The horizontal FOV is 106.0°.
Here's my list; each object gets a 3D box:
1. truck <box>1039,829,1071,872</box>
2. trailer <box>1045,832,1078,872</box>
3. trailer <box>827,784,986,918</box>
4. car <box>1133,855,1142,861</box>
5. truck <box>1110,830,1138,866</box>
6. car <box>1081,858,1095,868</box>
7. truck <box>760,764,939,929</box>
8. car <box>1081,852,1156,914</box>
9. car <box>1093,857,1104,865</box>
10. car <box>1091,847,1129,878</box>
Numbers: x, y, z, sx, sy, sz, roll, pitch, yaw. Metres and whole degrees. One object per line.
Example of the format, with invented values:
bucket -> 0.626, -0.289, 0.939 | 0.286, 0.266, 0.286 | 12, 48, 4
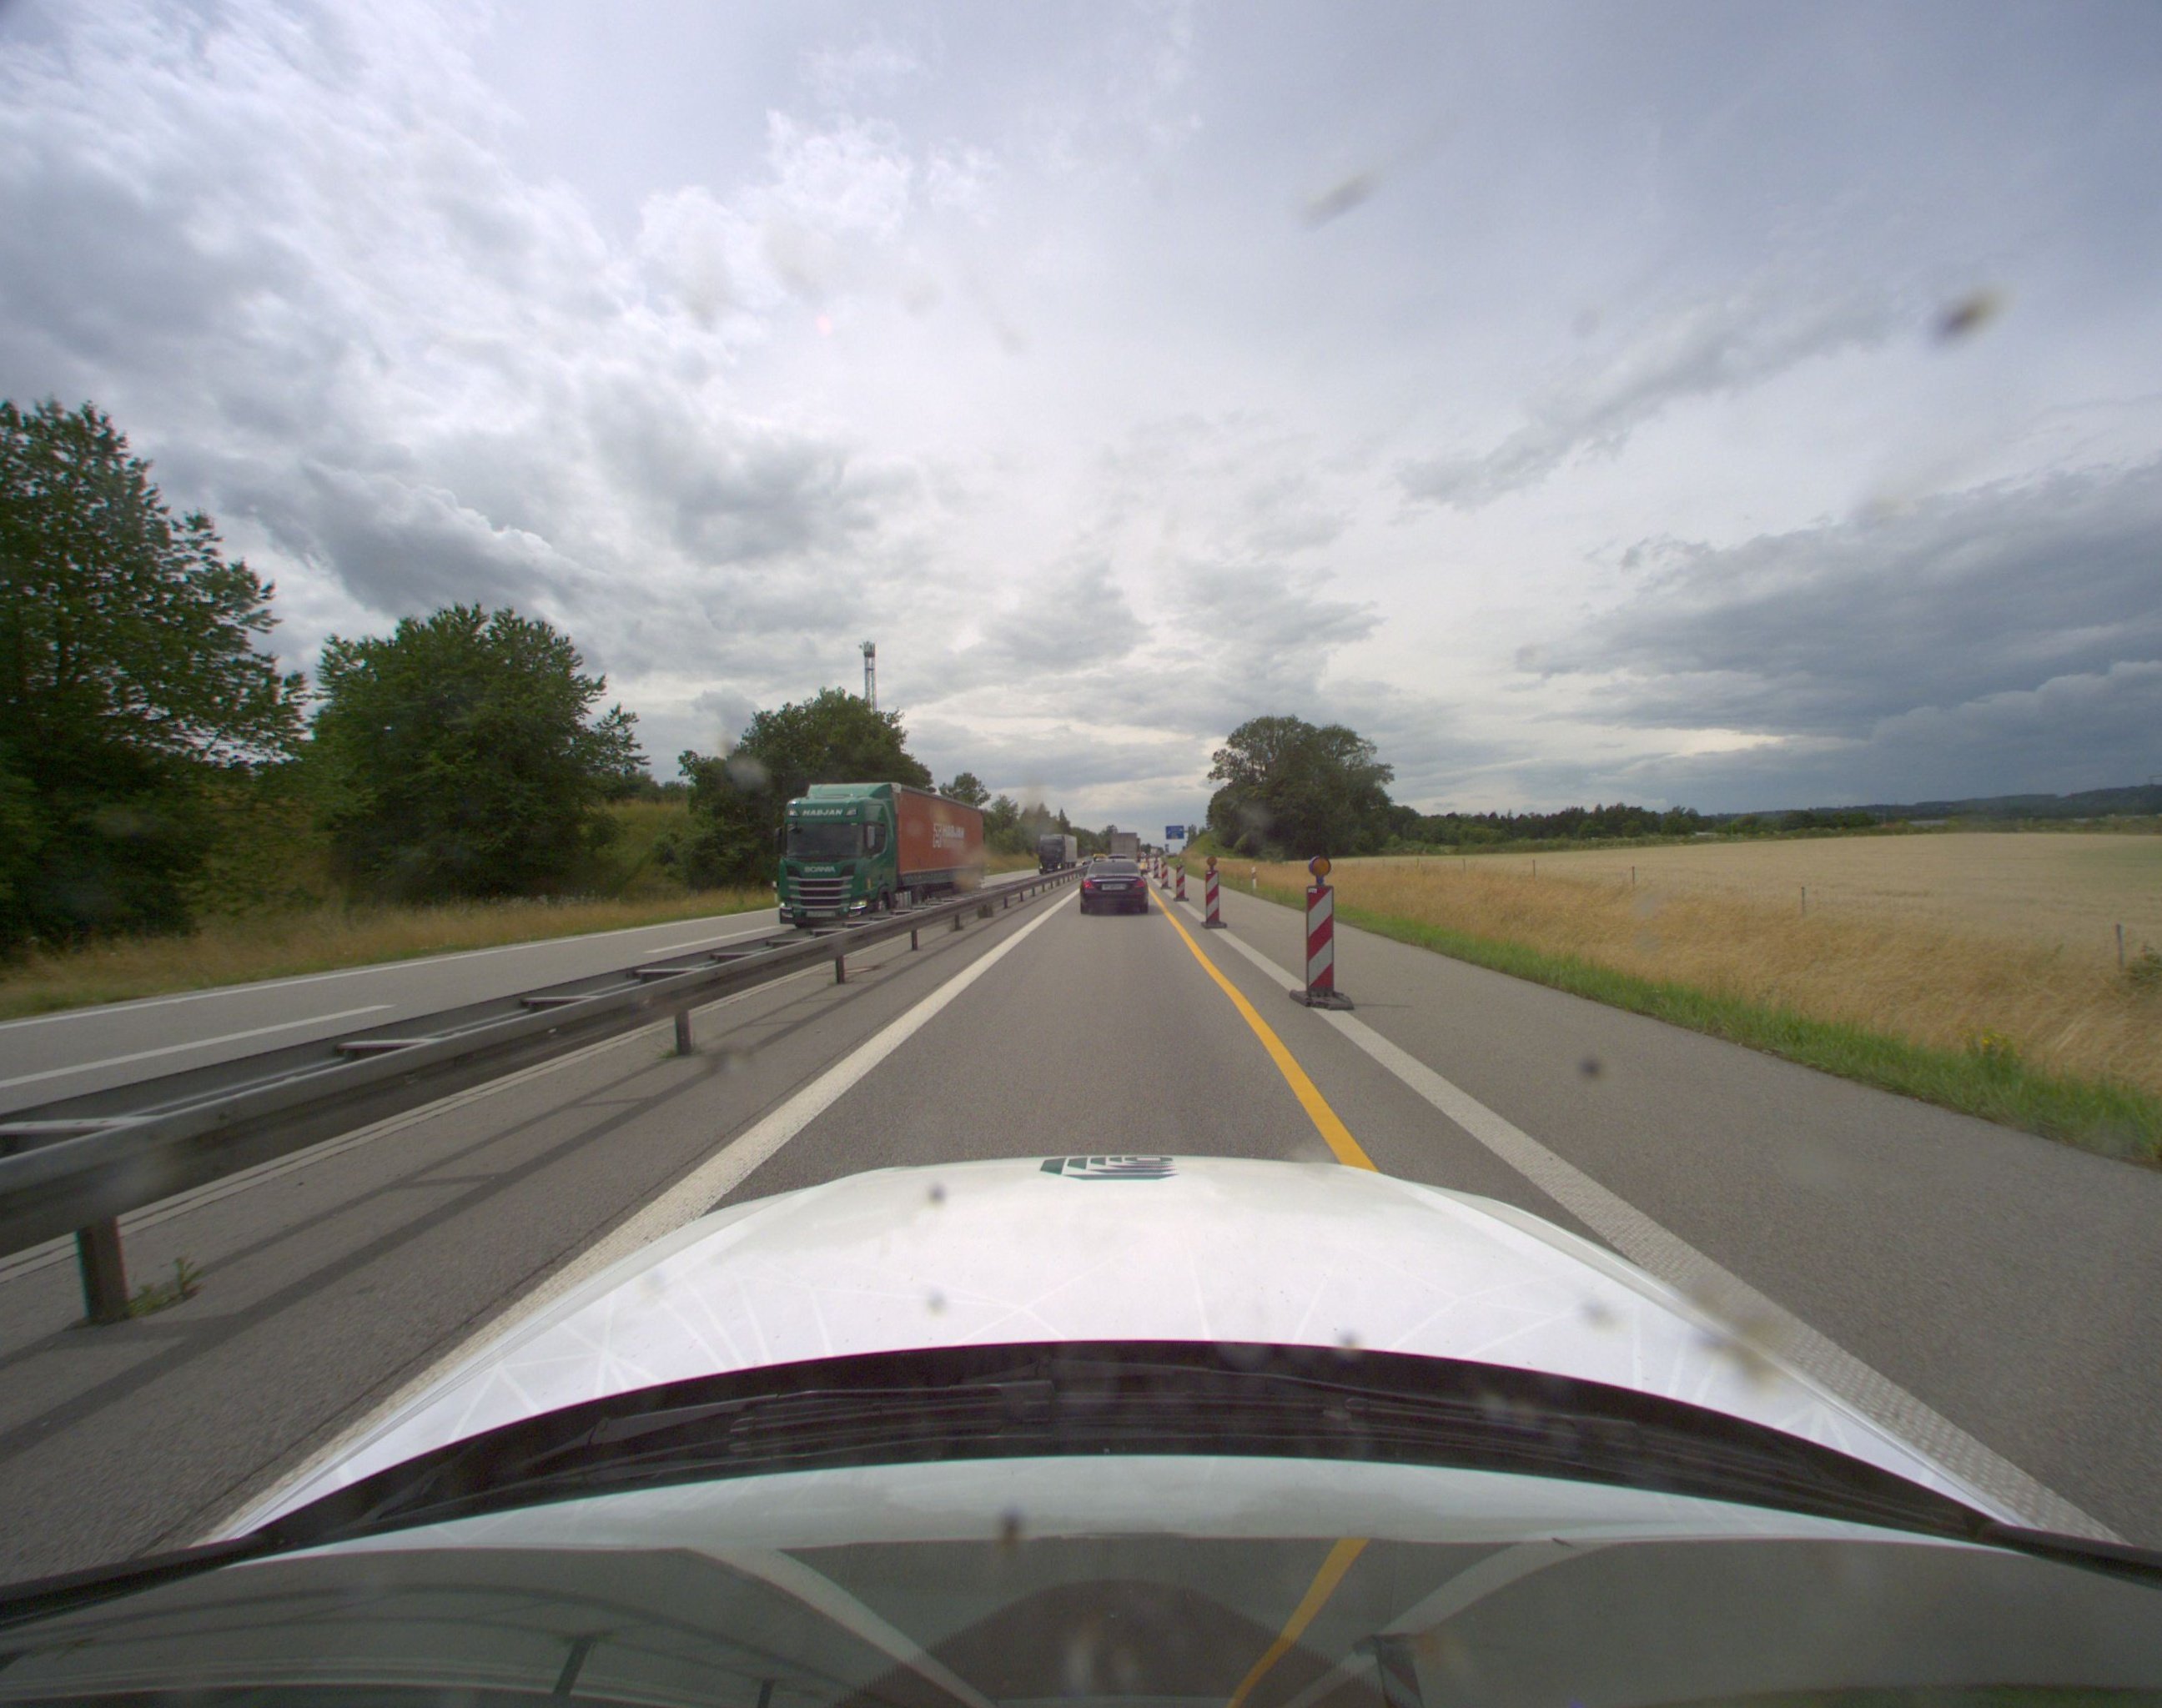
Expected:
truck -> -2.592, -0.265, 83.459 | 2.628, 4.170, 6.992 | 0, -1, 4
trailer -> -2.066, -0.132, 90.951 | 2.628, 4.170, 12.199 | 0, -1, 4
trailer -> -6.194, -0.014, 31.545 | 3.138, 4.213, 11.649 | 0, -1, 3
car -> 13.405, 0.861, 193.984 | 1.645, 1.396, 3.703 | 0, -1, -2
truck -> 4.266, -0.531, 81.945 | 2.578, 3.525, 4.813 | 0, -1, 1
car -> 1.143, 1.427, 128.053 | 1.985, 1.618, 4.003 | 0, -1, 3
truck -> -6.533, -0.145, 24.272 | 3.110, 4.213, 6.784 | 0, -1, 2
car -> 1.133, 0.770, 22.787 | 1.786, 1.560, 4.008 | 0, -1, 7
car -> 3.487, 1.351, 159.796 | 1.985, 1.618, 4.003 | 0, -1, 3
car -> 1.937, 0.580, 55.213 | 1.991, 2.014, 3.990 | 0, -1, -7
